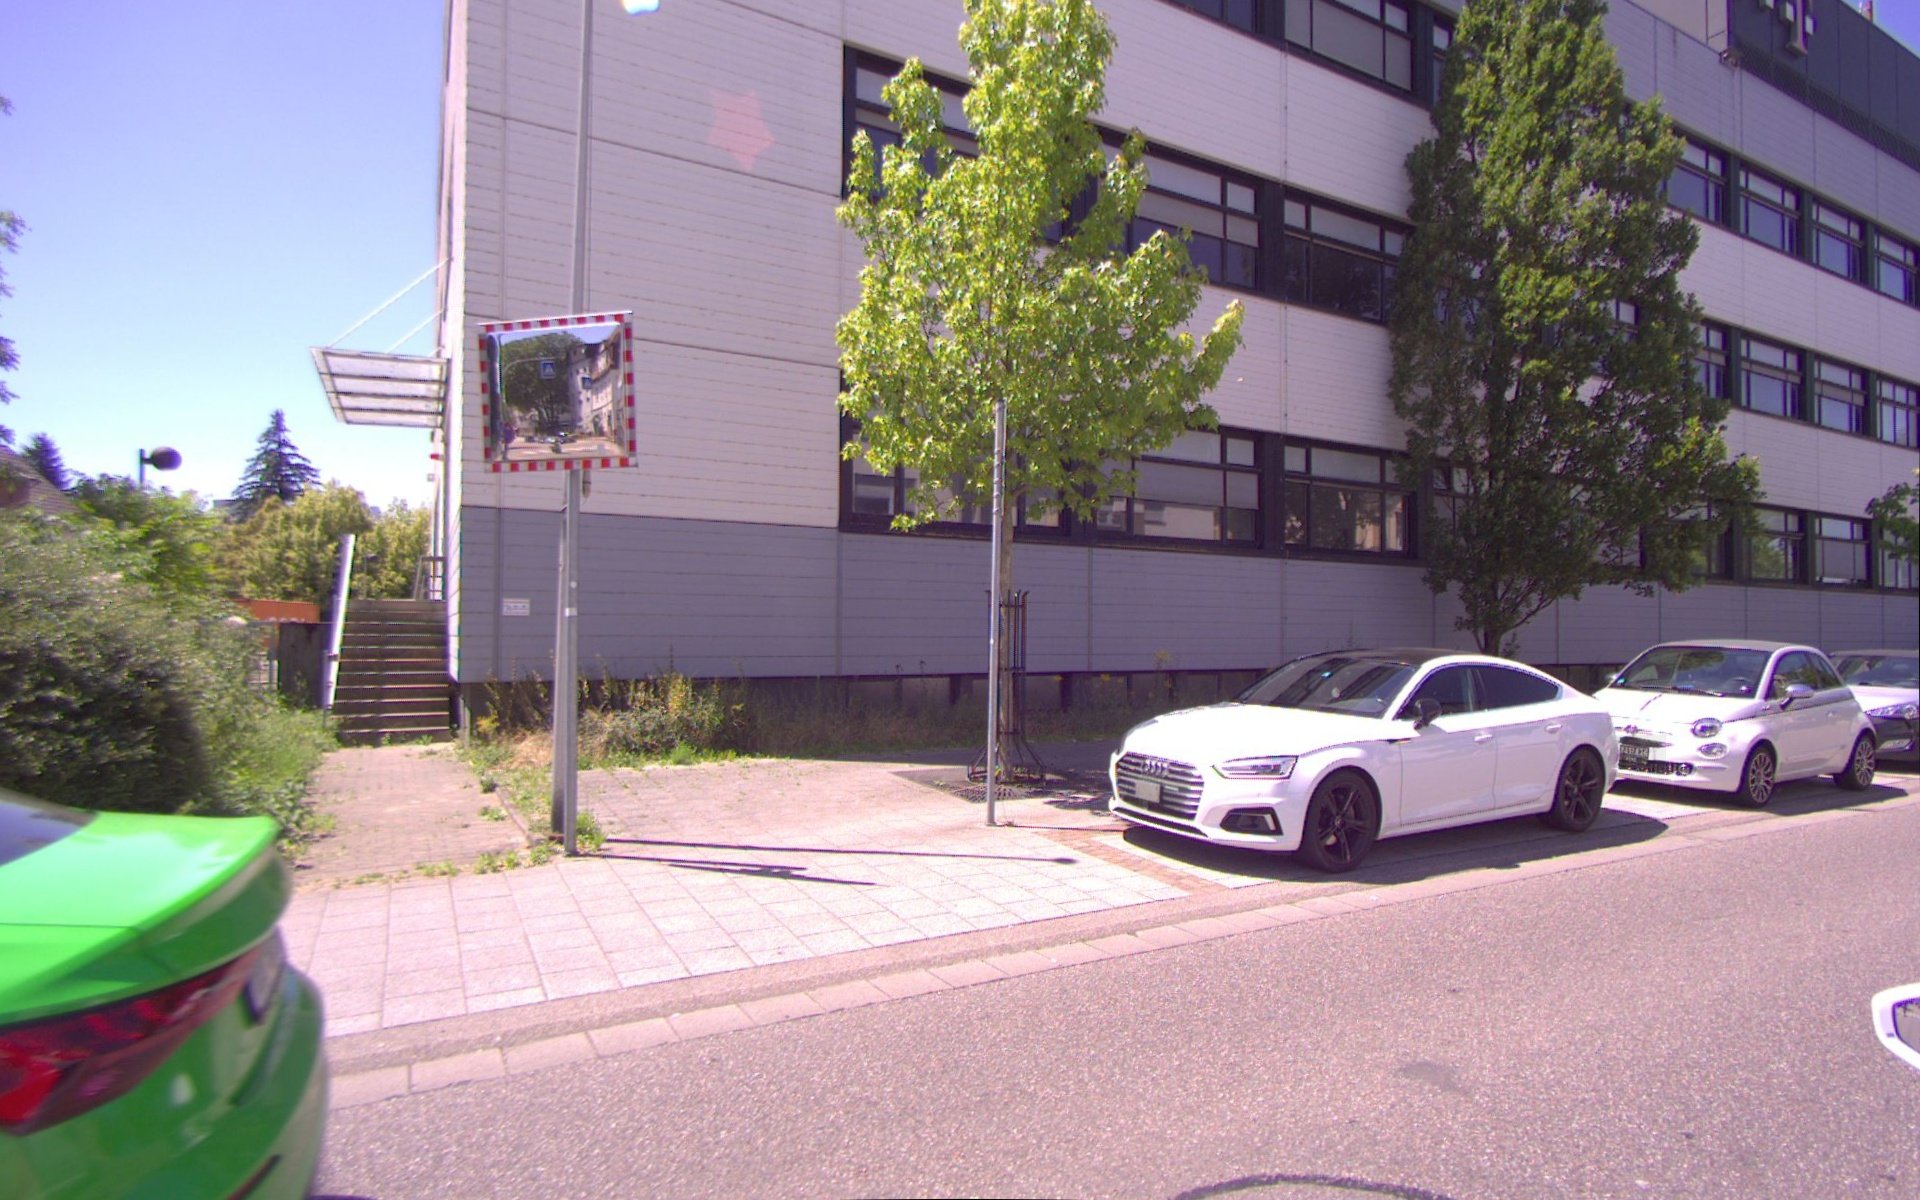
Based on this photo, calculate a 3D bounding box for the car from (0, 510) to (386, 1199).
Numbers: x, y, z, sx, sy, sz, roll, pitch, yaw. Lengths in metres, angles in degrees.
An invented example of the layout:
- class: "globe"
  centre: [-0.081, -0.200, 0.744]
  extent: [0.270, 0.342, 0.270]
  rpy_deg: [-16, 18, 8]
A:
- class: "car"
  centre: [-3.028, 0.681, 1.174]
  extent: [4.052, 1.609, 1.814]
  rpy_deg: [2, -3, -30]

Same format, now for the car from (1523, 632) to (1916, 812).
- class: "car"
  centre: [8.133, 1.151, 10.689]
  extent: [4.238, 1.532, 1.814]
  rpy_deg: [2, -1, -30]

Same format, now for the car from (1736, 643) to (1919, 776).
- class: "car"
  centre: [12.116, 1.321, 13.106]
  extent: [3.884, 1.428, 1.741]
  rpy_deg: [1, 0, -29]

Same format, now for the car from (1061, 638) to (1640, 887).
- class: "car"
  centre: [3.170, 1.054, 7.906]
  extent: [4.522, 1.430, 1.814]
  rpy_deg: [2, -1, -30]
